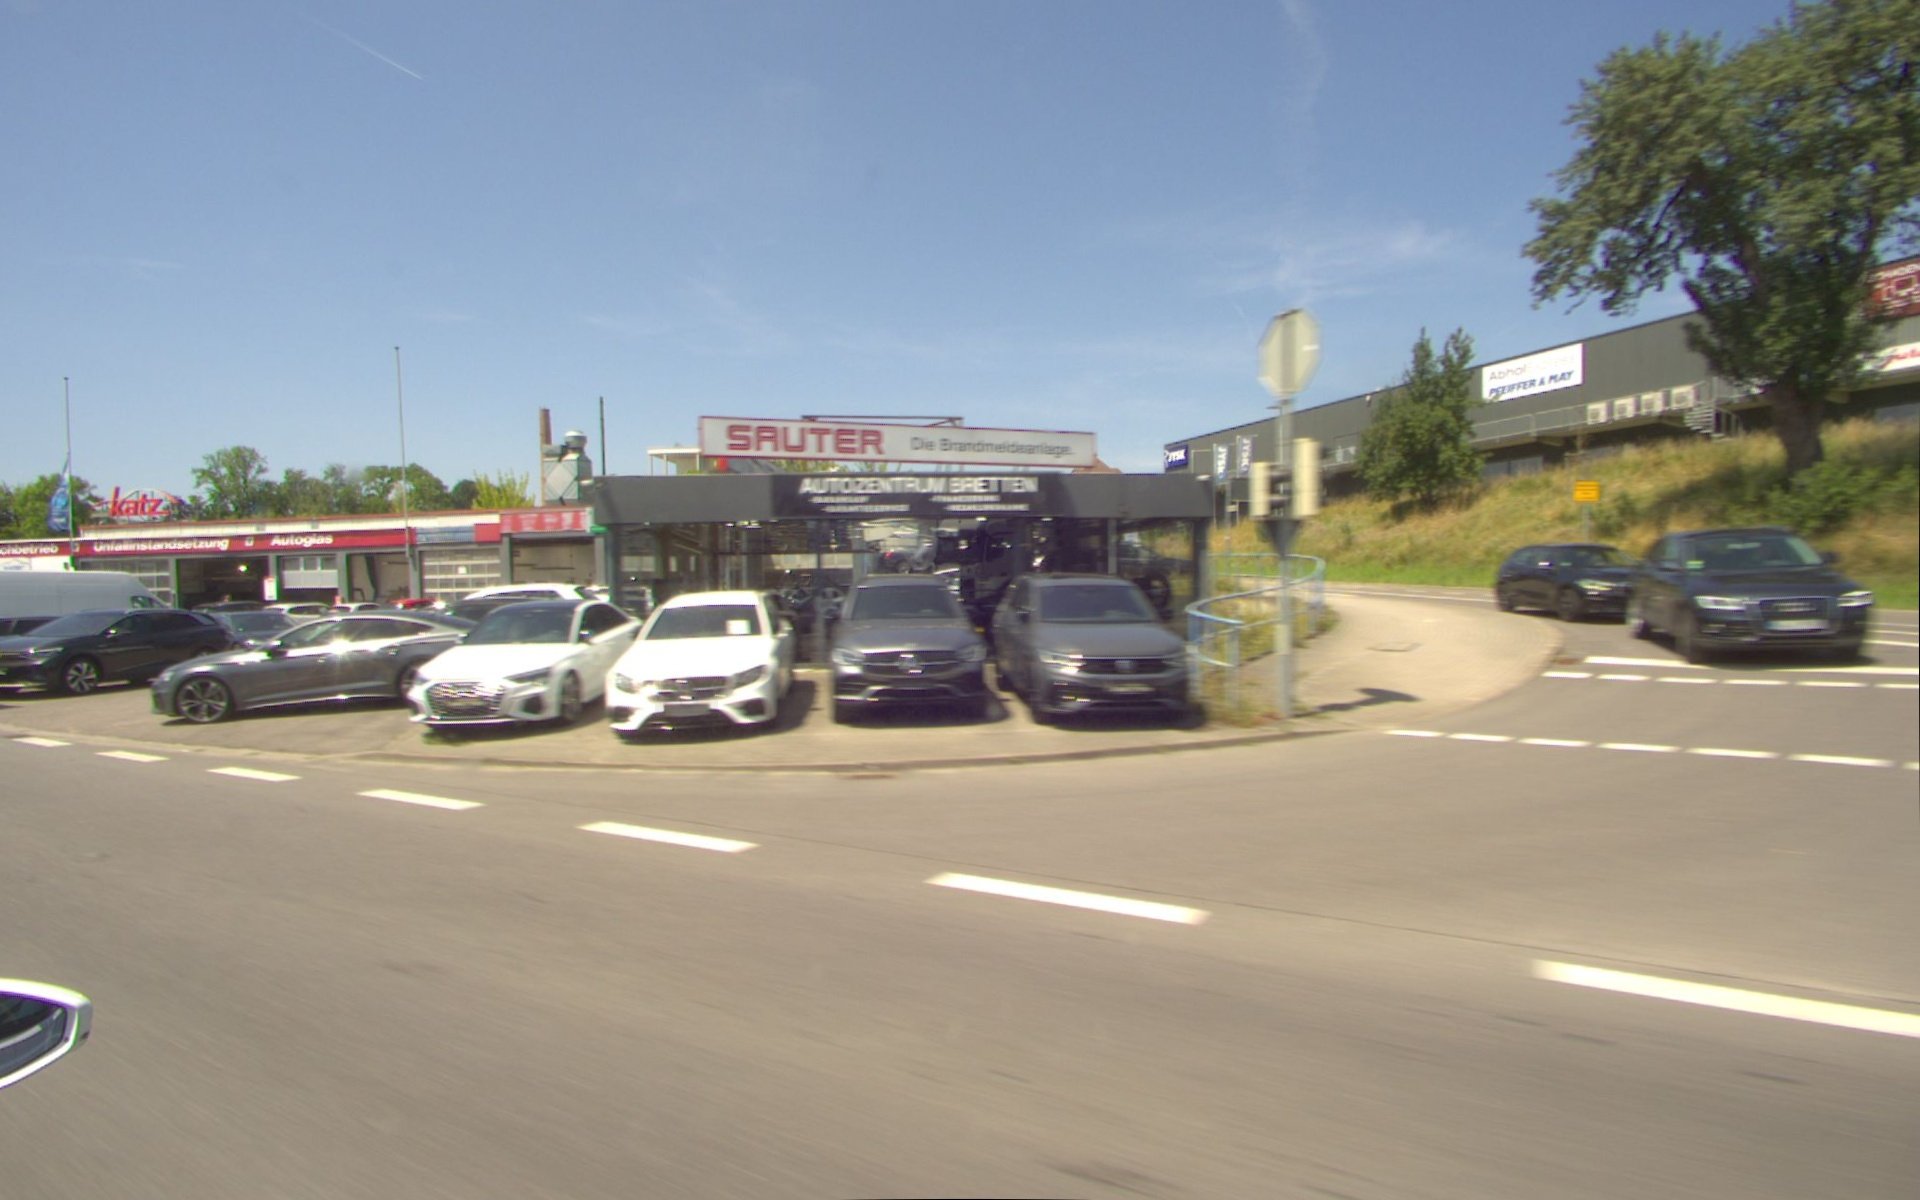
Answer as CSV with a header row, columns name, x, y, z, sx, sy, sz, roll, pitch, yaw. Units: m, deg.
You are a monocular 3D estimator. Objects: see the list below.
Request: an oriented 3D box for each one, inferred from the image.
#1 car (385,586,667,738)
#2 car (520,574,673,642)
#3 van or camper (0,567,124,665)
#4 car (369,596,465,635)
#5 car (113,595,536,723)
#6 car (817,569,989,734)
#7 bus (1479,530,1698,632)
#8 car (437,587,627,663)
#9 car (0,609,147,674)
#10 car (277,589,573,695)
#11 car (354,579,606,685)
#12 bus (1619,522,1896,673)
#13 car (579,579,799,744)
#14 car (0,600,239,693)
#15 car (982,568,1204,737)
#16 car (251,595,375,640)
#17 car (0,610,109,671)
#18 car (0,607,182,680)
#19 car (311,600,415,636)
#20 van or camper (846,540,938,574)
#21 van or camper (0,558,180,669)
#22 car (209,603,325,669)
name,x,y,z,sx,sy,sz,roll,pitch,yaw
car,-5.567,0.678,13.571,1.712,1.429,4.470,-1,4,2
car,-11.404,0.219,31.648,4.068,1.813,1.967,-3,2,-4
van or camper,-27.999,0.452,28.968,2.202,2.766,5.458,0,0,35
car,-21.840,0.584,40.416,1.645,1.469,3.598,0,1,6
car,-9.142,0.792,14.881,4.842,1.406,1.925,-4,2,-11
car,-0.754,0.502,13.083,1.848,1.715,4.171,-1,3,-4
bus,12.157,-0.458,19.778,1.906,1.674,4.498,-3,3,7
car,-10.306,0.566,24.390,3.866,1.504,1.730,-4,2,-11
car,-22.912,0.983,24.456,2.051,1.519,4.318,0,-1,31
car,-9.131,0.666,17.457,4.088,1.439,1.852,-4,2,-11
car,-9.376,0.570,19.912,4.070,1.737,1.852,-4,2,-11
bus,10.608,-0.151,13.740,1.912,1.674,4.485,-3,3,25
car,-3.209,0.592,12.886,1.961,1.575,4.734,-1,3,-6
car,-17.582,0.872,20.617,2.022,1.646,4.337,-1,1,7
car,1.479,0.485,12.761,1.848,1.715,4.179,-1,3,-6
car,-26.866,0.682,41.726,1.822,1.596,3.989,-1,3,19
car,-24.624,1.025,25.773,1.827,1.519,3.802,0,0,32
car,-20.365,0.926,22.359,2.051,1.519,4.318,0,-1,31
car,-24.273,0.740,40.850,1.646,1.392,3.598,0,-1,12
van or camper,-2.948,-1.876,43.904,3.922,1.375,1.857,0,-1,-3
van or camper,-25.633,0.368,28.210,2.202,2.944,5.351,0,0,35
car,-18.499,0.895,26.653,1.797,1.548,4.338,-2,1,-44
